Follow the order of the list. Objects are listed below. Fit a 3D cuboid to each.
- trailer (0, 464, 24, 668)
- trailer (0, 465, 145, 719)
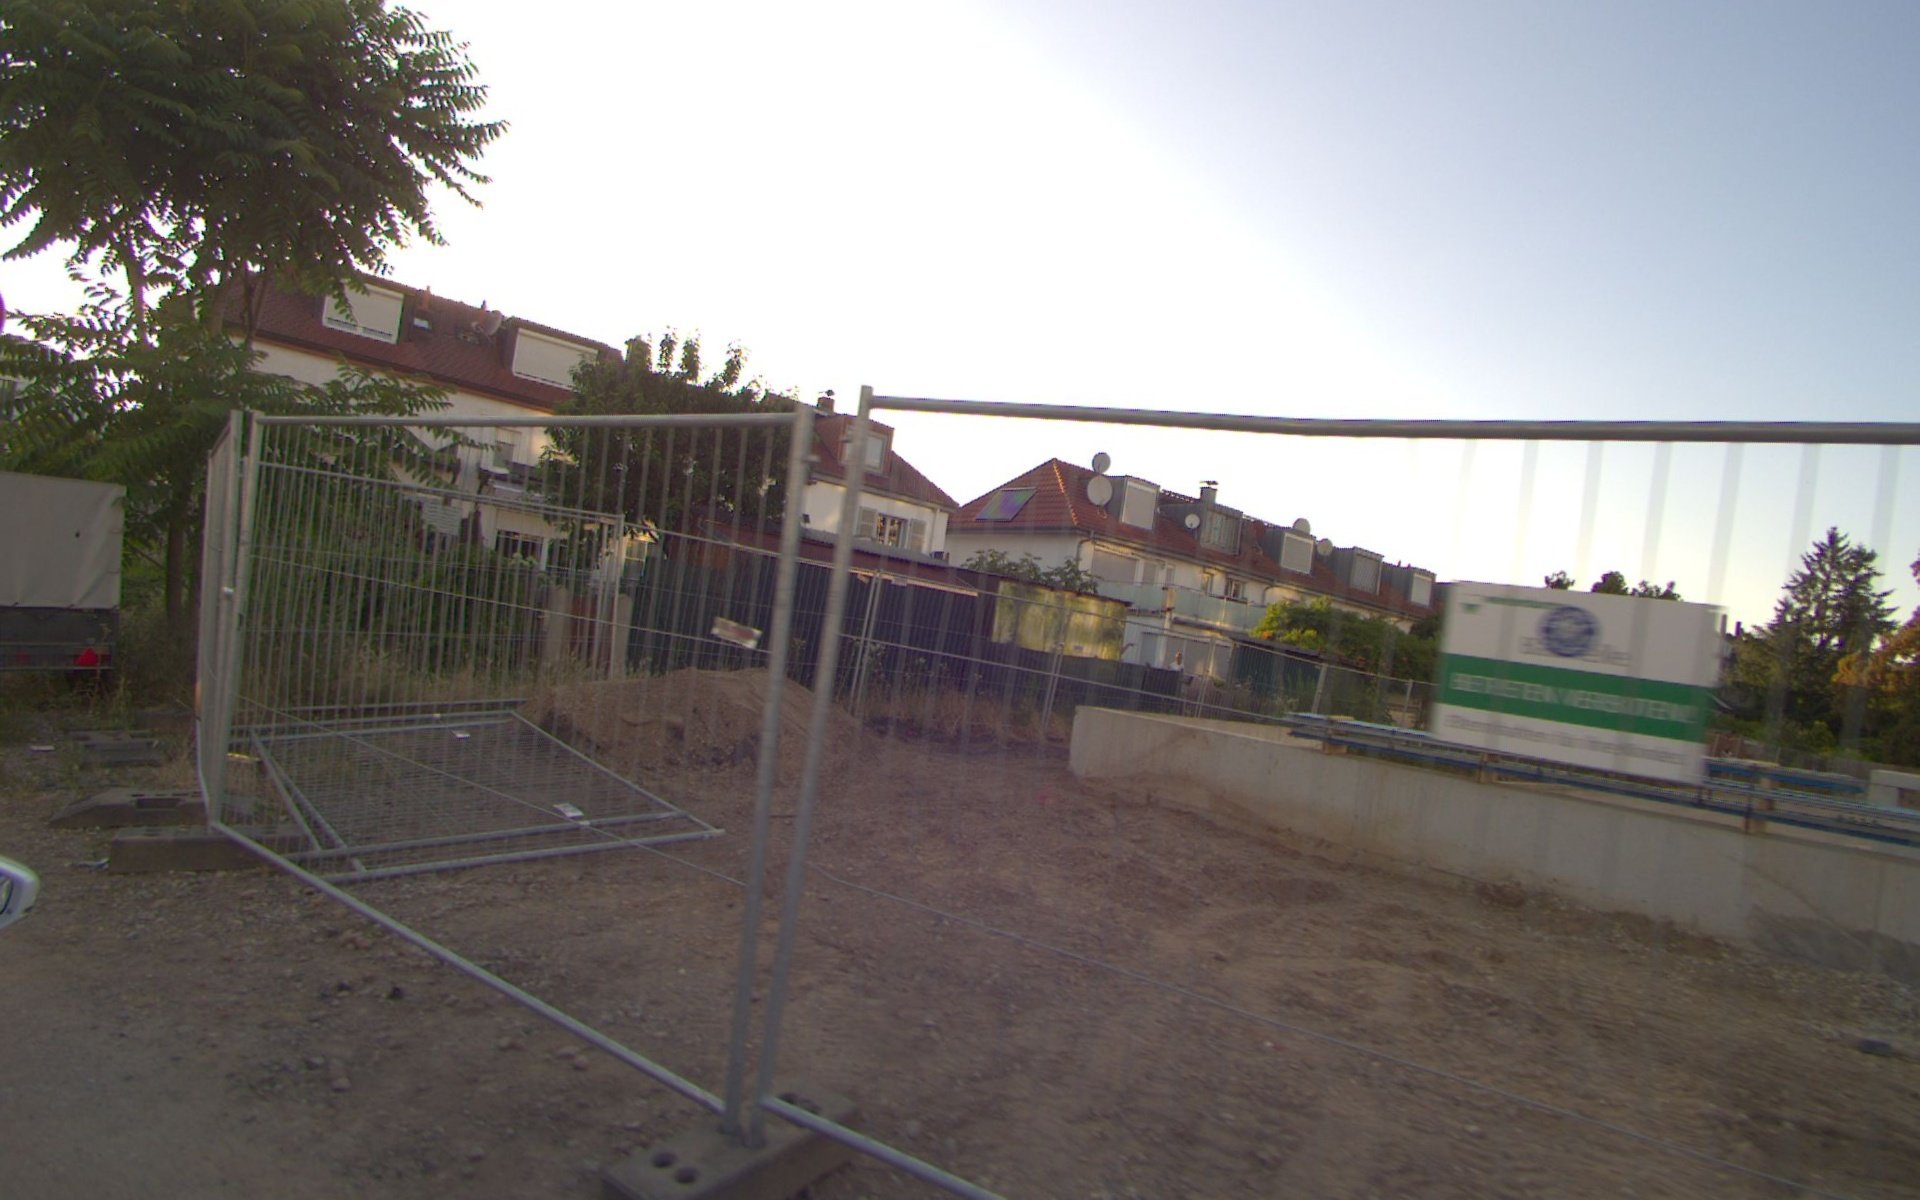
[{"bbox_3d":[-10.838,-0.574,9.752,4.863,1.799,1.730,6,-1,38],"label":"trailer"},{"bbox_3d":[-7.470,-0.168,7.486,2.757,1.685,1.252,7,0,32],"label":"trailer"}]
